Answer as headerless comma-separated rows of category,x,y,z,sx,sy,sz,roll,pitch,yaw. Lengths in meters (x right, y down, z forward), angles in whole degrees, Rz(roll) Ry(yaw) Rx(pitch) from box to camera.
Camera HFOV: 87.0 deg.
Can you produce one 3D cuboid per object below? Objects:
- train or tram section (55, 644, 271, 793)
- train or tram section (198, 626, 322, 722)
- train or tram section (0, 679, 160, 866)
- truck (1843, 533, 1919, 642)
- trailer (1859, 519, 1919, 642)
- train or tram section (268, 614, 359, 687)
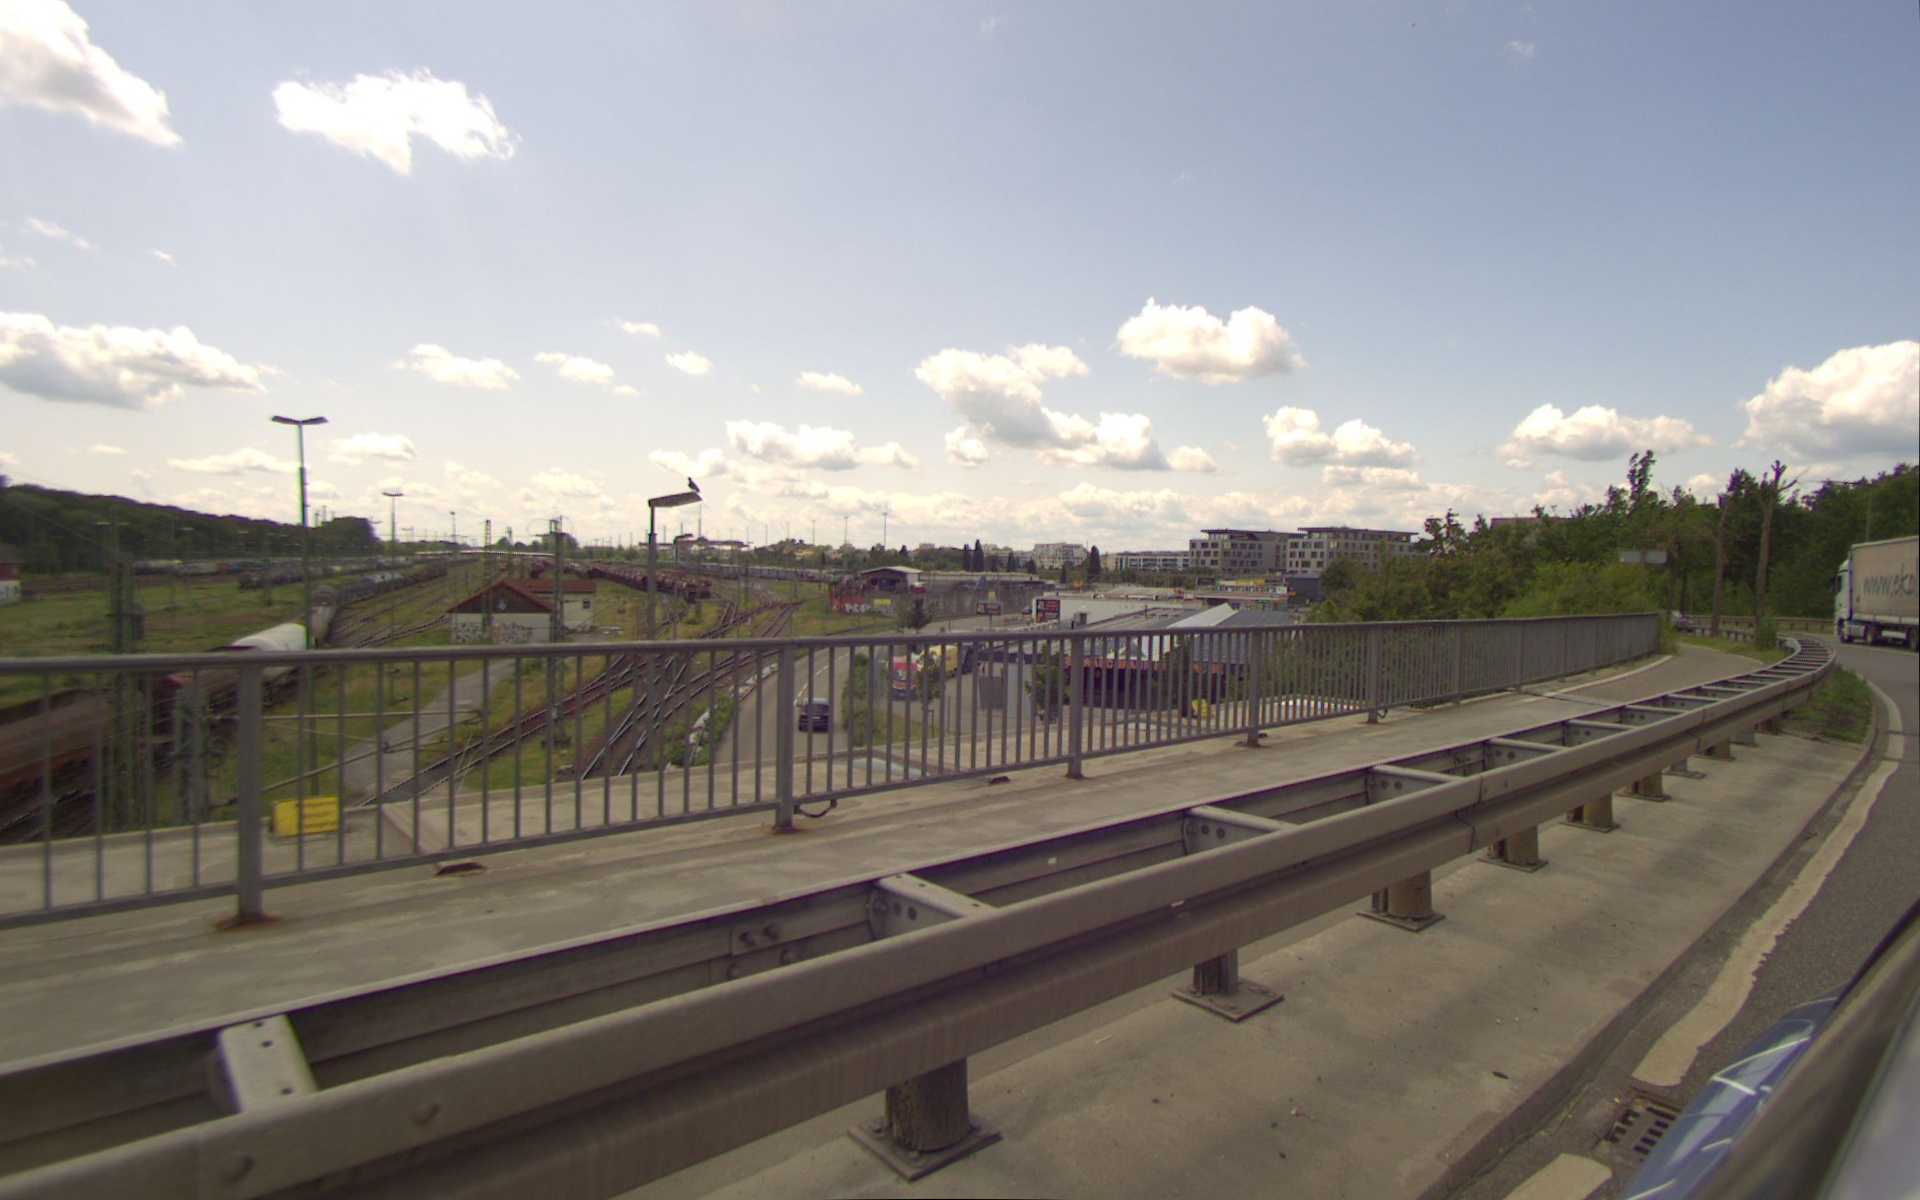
train or tram section,-37.518,5.034,48.897,3.154,4.202,18.940,-3,3,-23
train or tram section,-44.709,4.401,65.400,3.152,4.202,17.001,-3,3,-23
train or tram section,-30.912,5.682,32.285,3.075,4.202,16.649,-3,3,-20
truck,38.656,-0.487,41.375,2.747,4.187,5.593,0,0,30
trailer,35.343,-0.690,35.676,2.693,4.334,14.077,0,0,30
train or tram section,-51.623,3.781,81.454,3.147,4.202,17.735,-3,3,-23
